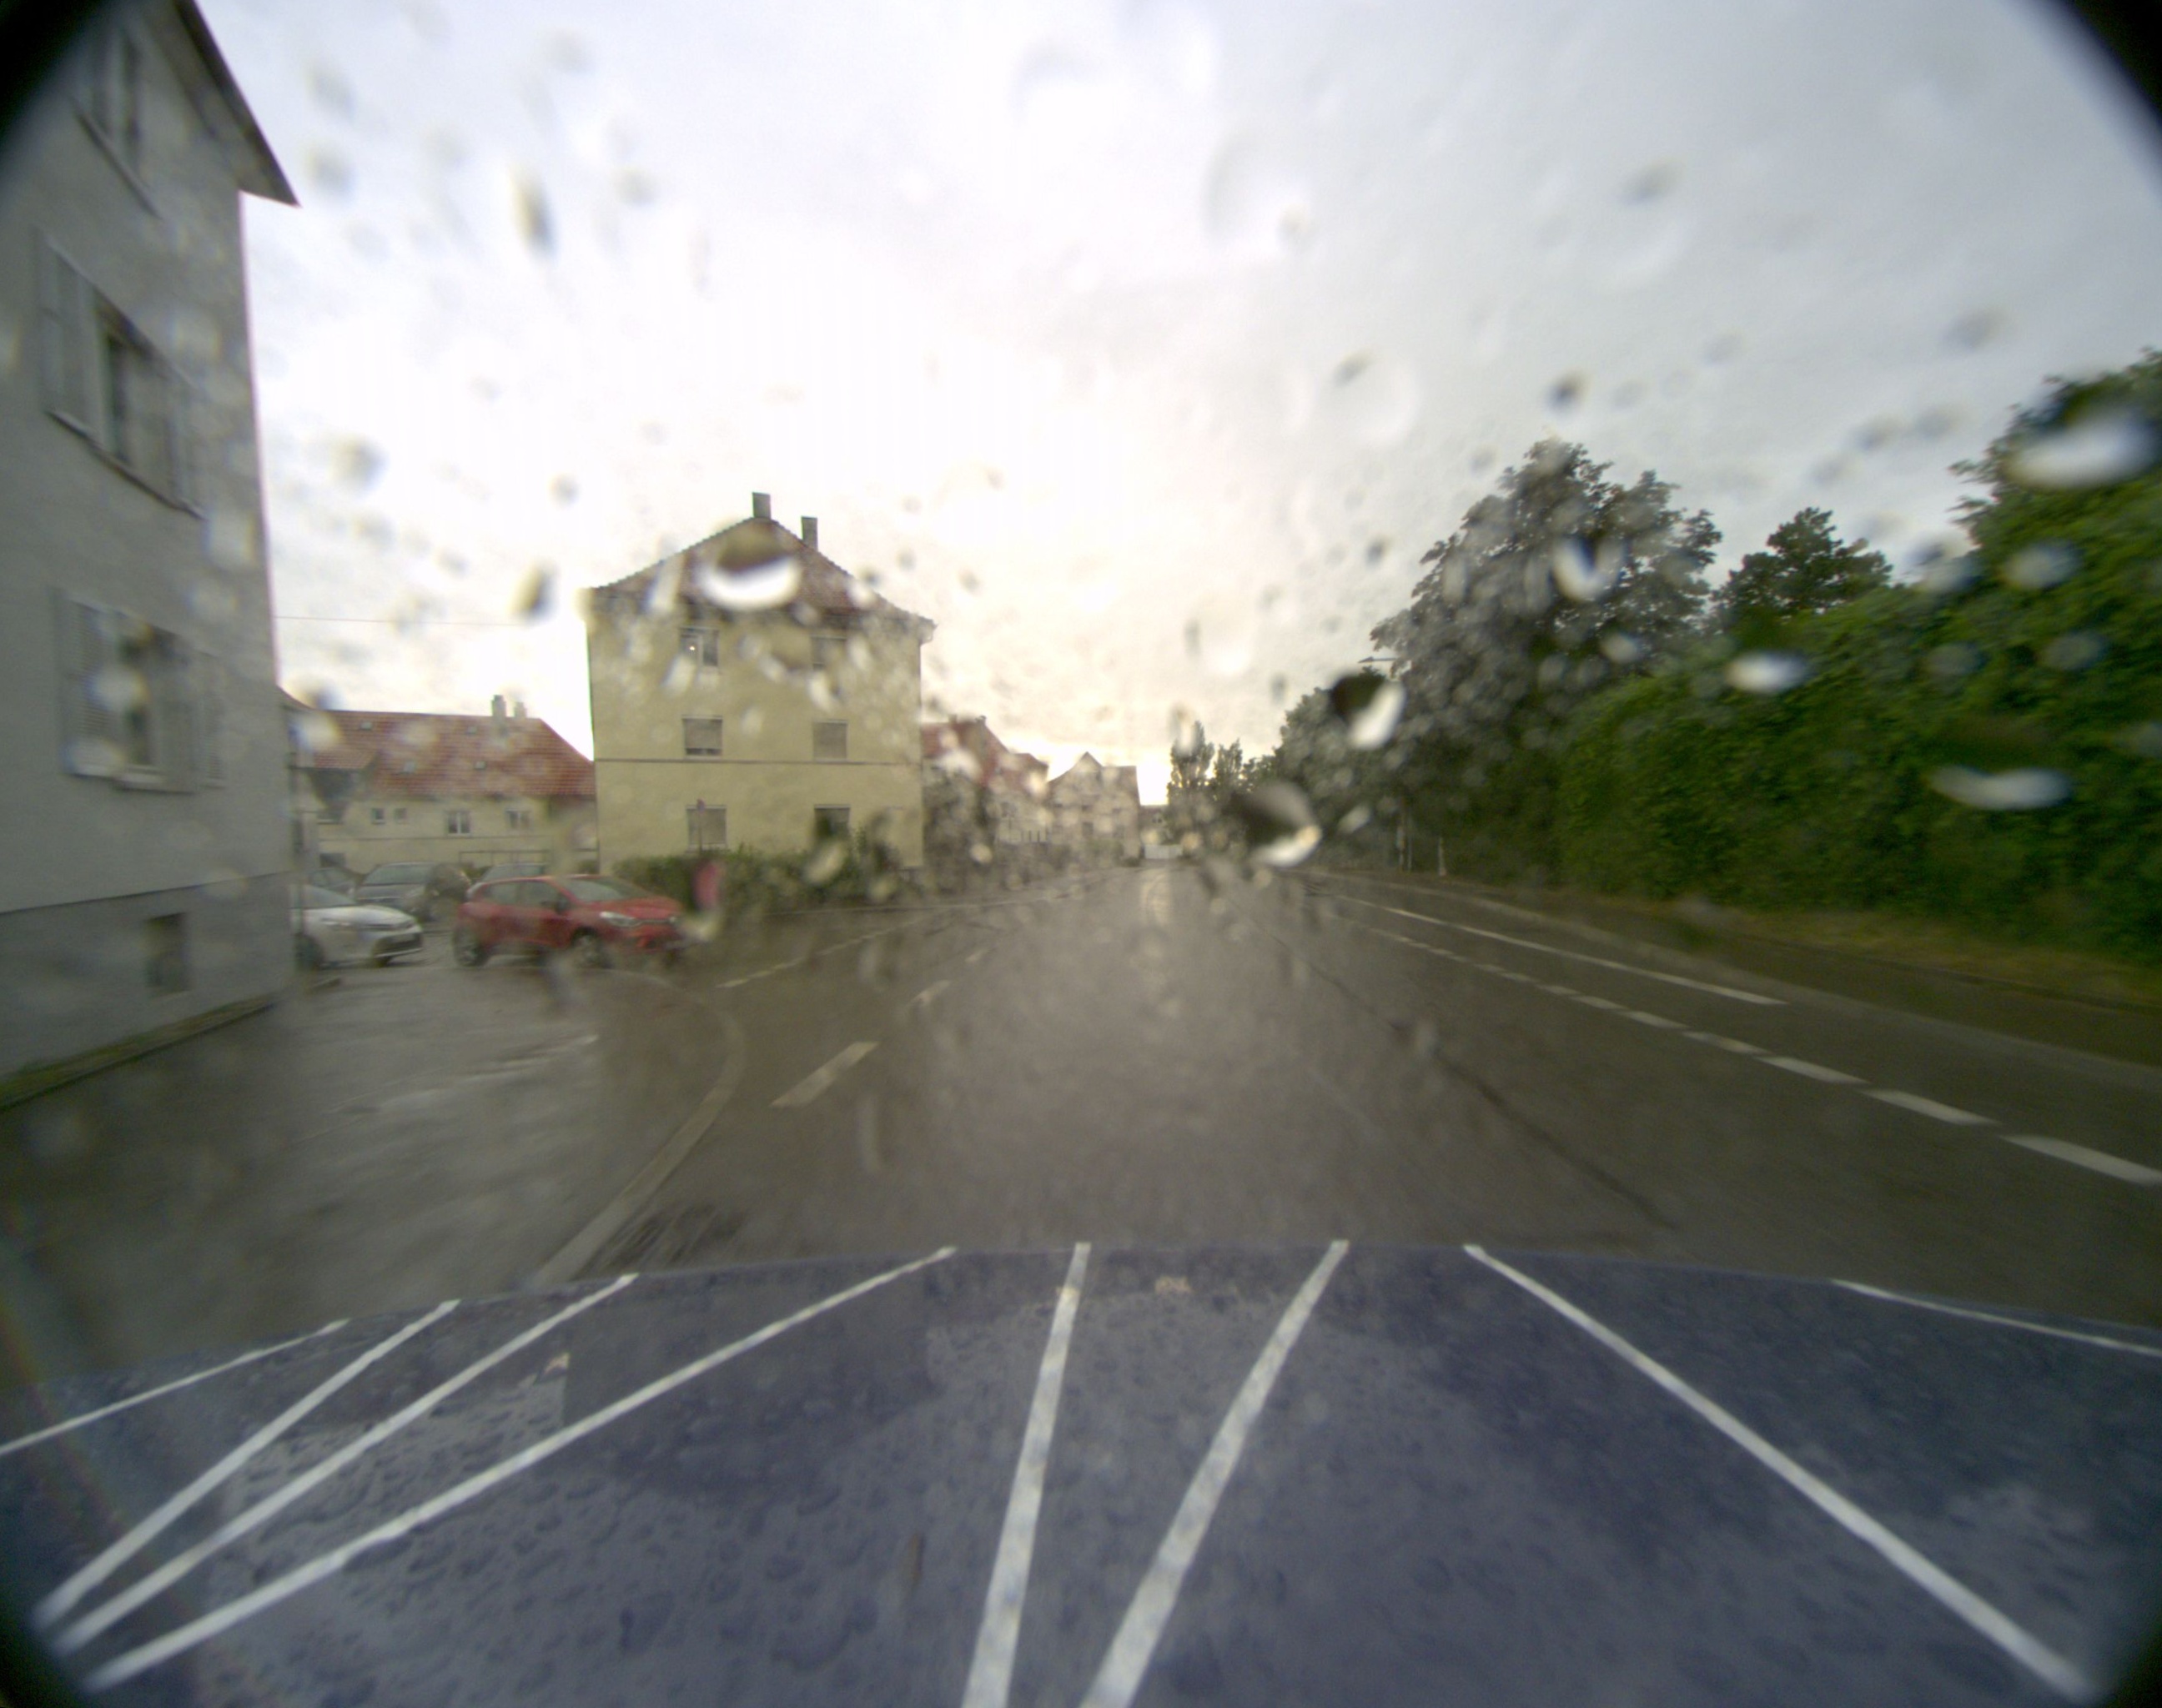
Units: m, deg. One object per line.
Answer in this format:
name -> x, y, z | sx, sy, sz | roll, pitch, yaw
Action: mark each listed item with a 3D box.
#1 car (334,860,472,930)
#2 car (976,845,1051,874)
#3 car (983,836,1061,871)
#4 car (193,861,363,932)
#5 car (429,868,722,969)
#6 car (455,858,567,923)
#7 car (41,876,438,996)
car -> -18.053, 1.017, 20.434 | 1.726, 1.492, 3.673 | -2, 3, -25
car -> -3.546, 0.284, 39.589 | 3.530, 1.332, 1.684 | 1, 2, -22
car -> -3.284, -0.006, 42.115 | 3.939, 1.772, 1.767 | 1, 2, -20
car -> -20.485, 0.993, 19.617 | 1.727, 1.400, 4.083 | -2, 3, -28
car -> -8.143, 1.018, 12.305 | 4.085, 1.399, 1.726 | -2, 0, 18
car -> -15.953, 0.945, 21.483 | 1.726, 1.437, 3.962 | -2, 3, -25
car -> -13.618, 1.268, 12.569 | 4.240, 1.580, 1.723 | -2, 0, -8
